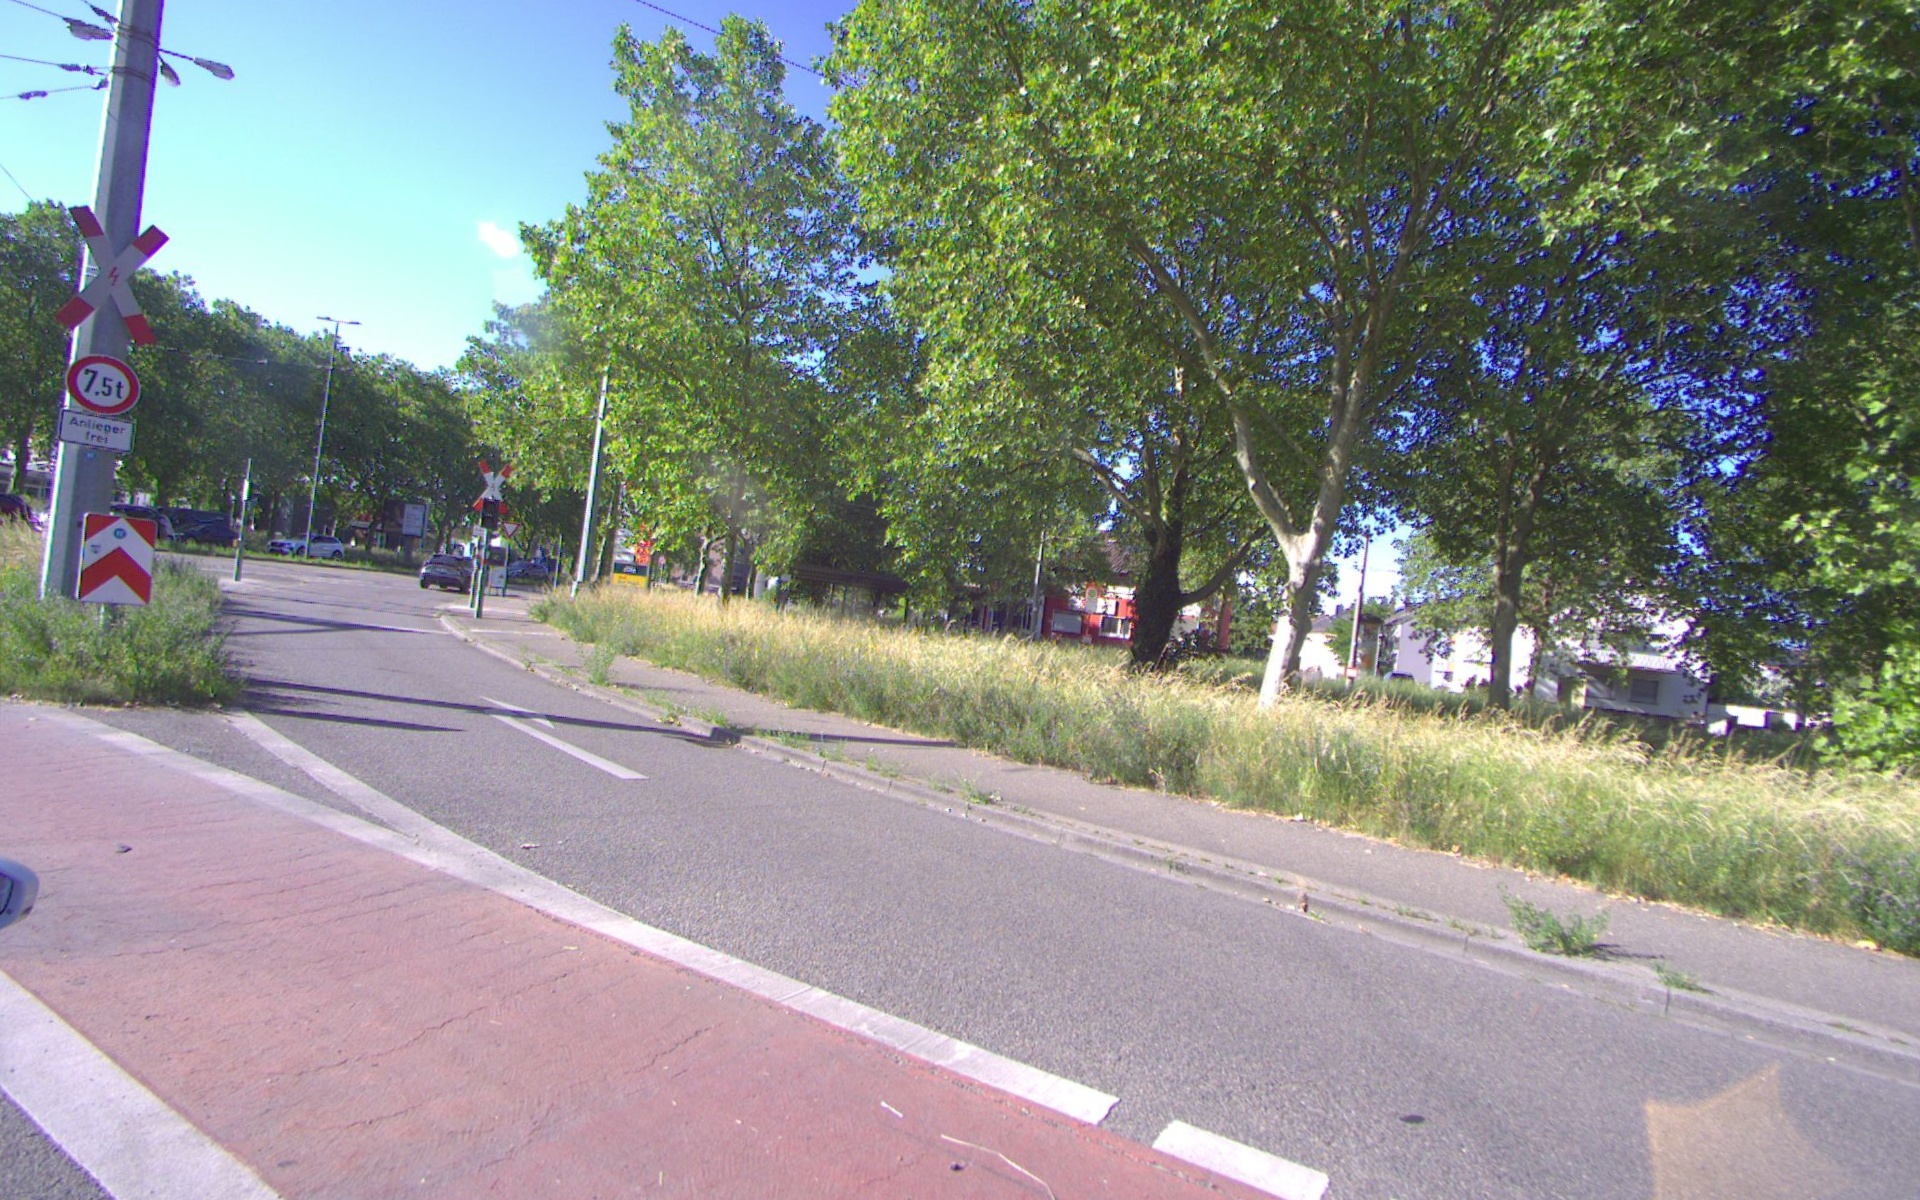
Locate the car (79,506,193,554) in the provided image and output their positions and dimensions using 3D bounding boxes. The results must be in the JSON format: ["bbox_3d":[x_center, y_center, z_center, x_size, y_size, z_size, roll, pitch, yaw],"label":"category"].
[{"bbox_3d":[-37.993,-3.185,46.507,1.680,1.620,3.863,7,-1,7],"label":"car"}]

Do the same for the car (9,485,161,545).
[{"bbox_3d":[-35.349,-3.375,40.828,1.885,1.732,4.497,7,-1,4],"label":"car"}]

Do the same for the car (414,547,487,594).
[{"bbox_3d":[-22.484,-1.244,44.557,1.798,1.724,3.765,8,-1,-12],"label":"car"}]

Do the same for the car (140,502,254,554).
[{"bbox_3d":[-42.297,-3.933,55.944,2.091,2.095,5.122,7,-1,3],"label":"car"}]

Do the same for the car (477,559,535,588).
[{"bbox_3d":[-32.266,-1.859,71.619,1.962,1.637,4.002,7,-1,4],"label":"car"}]

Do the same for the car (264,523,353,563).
[{"bbox_3d":[-39.460,-3.395,61.056,1.873,1.701,4.782,7,-2,4],"label":"car"}]

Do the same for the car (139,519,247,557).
[{"bbox_3d":[-40.744,-3.260,53.606,1.898,1.424,4.573,7,-1,4],"label":"car"}]

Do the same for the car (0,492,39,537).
[{"bbox_3d":[-38.656,-3.540,38.998,1.782,1.620,4.093,7,-1,7],"label":"car"}]
